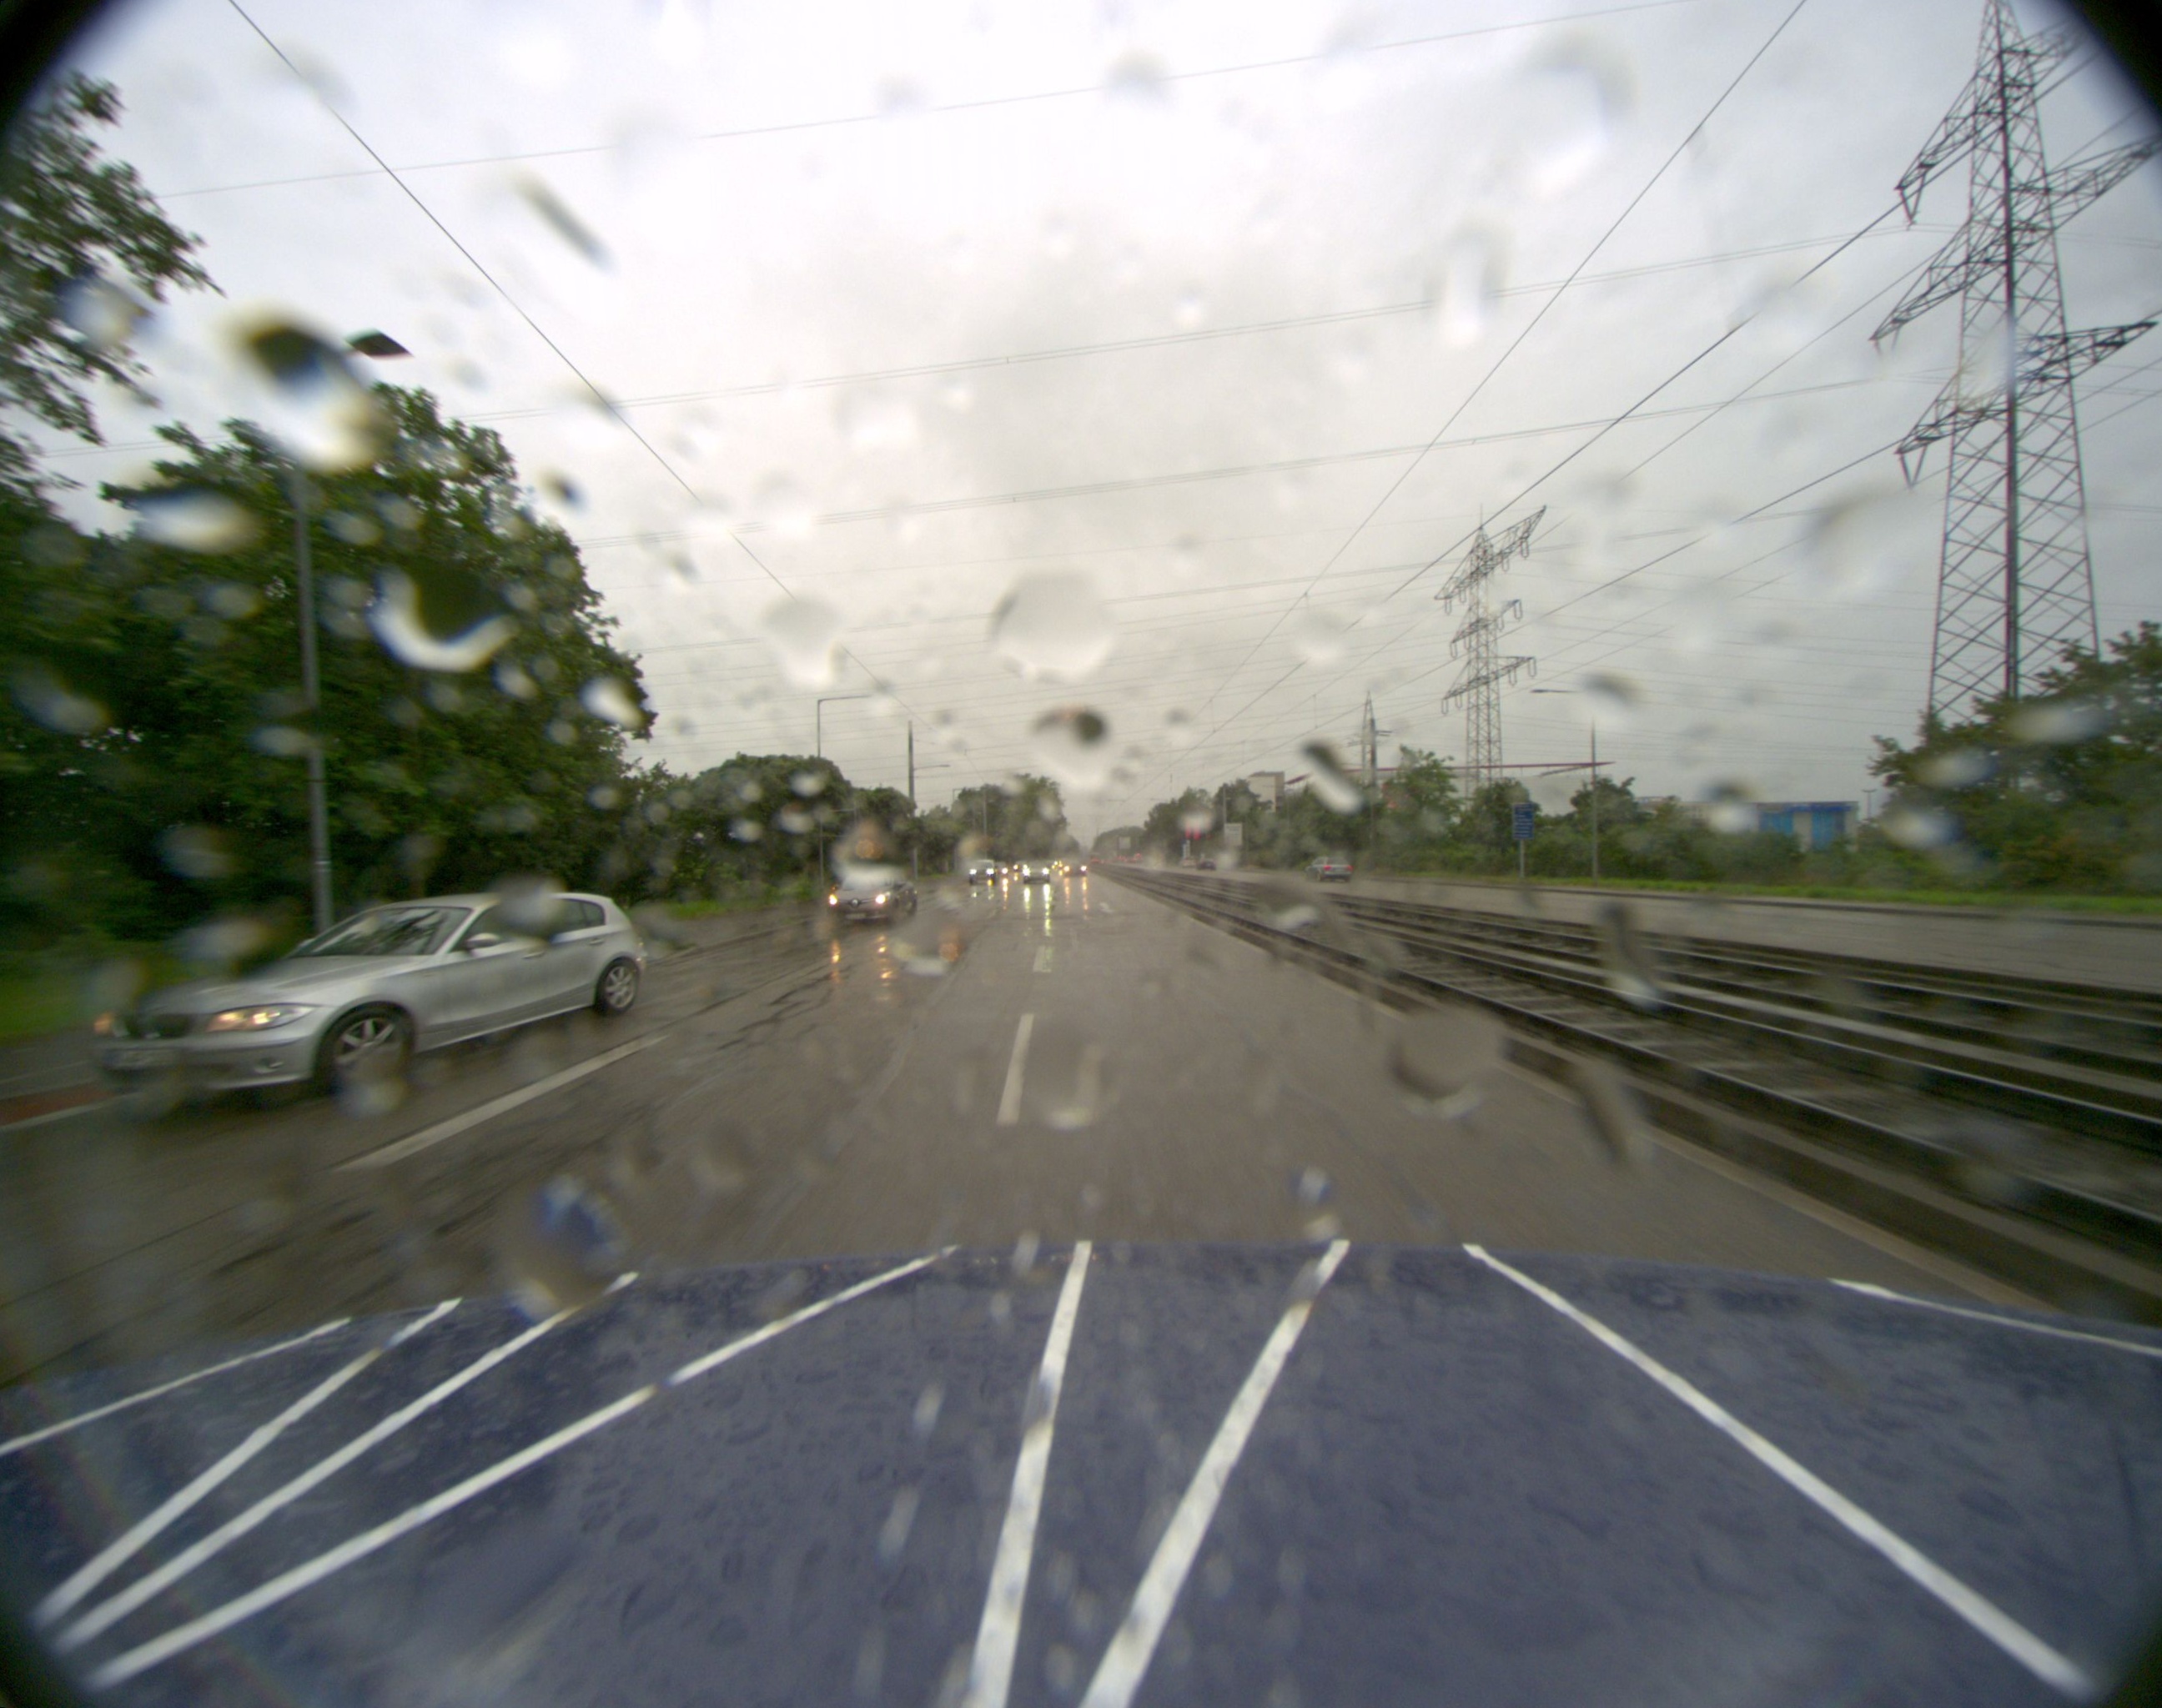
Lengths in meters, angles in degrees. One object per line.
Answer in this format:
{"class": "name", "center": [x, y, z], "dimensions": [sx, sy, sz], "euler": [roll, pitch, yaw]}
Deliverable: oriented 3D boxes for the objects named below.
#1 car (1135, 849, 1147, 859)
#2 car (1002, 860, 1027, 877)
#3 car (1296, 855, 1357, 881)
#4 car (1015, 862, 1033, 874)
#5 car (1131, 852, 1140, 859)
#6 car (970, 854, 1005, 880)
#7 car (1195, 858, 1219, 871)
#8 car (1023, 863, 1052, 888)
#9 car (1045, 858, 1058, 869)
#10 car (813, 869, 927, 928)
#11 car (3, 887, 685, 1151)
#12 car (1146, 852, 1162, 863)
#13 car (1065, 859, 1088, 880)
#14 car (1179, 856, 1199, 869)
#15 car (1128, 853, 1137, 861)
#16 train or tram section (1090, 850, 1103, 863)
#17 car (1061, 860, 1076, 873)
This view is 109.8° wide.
{"class": "car", "center": [14.660, 0.019, 185.363], "dimensions": [2.156, 2.284, 5.982], "euler": [2, -1, -2]}
{"class": "car", "center": [-5.852, 1.281, 67.317], "dimensions": [1.784, 1.419, 4.000], "euler": [-2, -1, 0]}
{"class": "car", "center": [14.303, 0.794, 44.550], "dimensions": [1.762, 1.354, 5.071], "euler": [-3, -1, -1]}
{"class": "car", "center": [-7.007, 1.731, 93.413], "dimensions": [1.784, 1.419, 4.000], "euler": [-2, -1, 0]}
{"class": "car", "center": [14.193, 0.385, 197.873], "dimensions": [1.901, 1.630, 4.730], "euler": [-3, -1, -2]}
{"class": "car", "center": [-6.526, 0.913, 53.584], "dimensions": [1.797, 1.692, 4.763], "euler": [-3, -1, 0]}
{"class": "car", "center": [14.232, 1.156, 86.392], "dimensions": [1.998, 1.455, 5.252], "euler": [1, -1, 2]}
{"class": "car", "center": [-2.834, 1.377, 50.201], "dimensions": [1.808, 1.521, 3.645], "euler": [-3, -1, -2]}
{"class": "car", "center": [-4.732, 1.540, 121.812], "dimensions": [1.846, 1.572, 3.837], "euler": [-3, -1, -2]}
{"class": "car", "center": [-5.678, 1.156, 21.022], "dimensions": [1.892, 1.349, 4.277], "euler": [-3, -1, 0]}
{"class": "car", "center": [-5.979, 1.177, 7.186], "dimensions": [1.630, 1.494, 4.608], "euler": [-3, -1, 6]}
{"class": "car", "center": [12.072, 0.554, 125.824], "dimensions": [1.830, 1.625, 5.136], "euler": [-3, -1, -2]}
{"class": "car", "center": [-0.371, 1.289, 65.001], "dimensions": [1.816, 1.692, 4.000], "euler": [-2, -1, 0]}
{"class": "car", "center": [14.648, 1.185, 103.502], "dimensions": [1.847, 1.564, 5.066], "euler": [-3, -1, -2]}
{"class": "car", "center": [14.501, 0.914, 215.364], "dimensions": [2.095, 2.088, 4.730], "euler": [-3, -1, -2]}
{"class": "train or tram section", "center": [4.584, 0.941, 234.906], "dimensions": [2.894, 3.683, 19.527], "euler": [-3, -1, -2]}
{"class": "car", "center": [-1.649, 1.619, 101.184], "dimensions": [1.816, 1.692, 4.000], "euler": [-2, -1, 0]}
